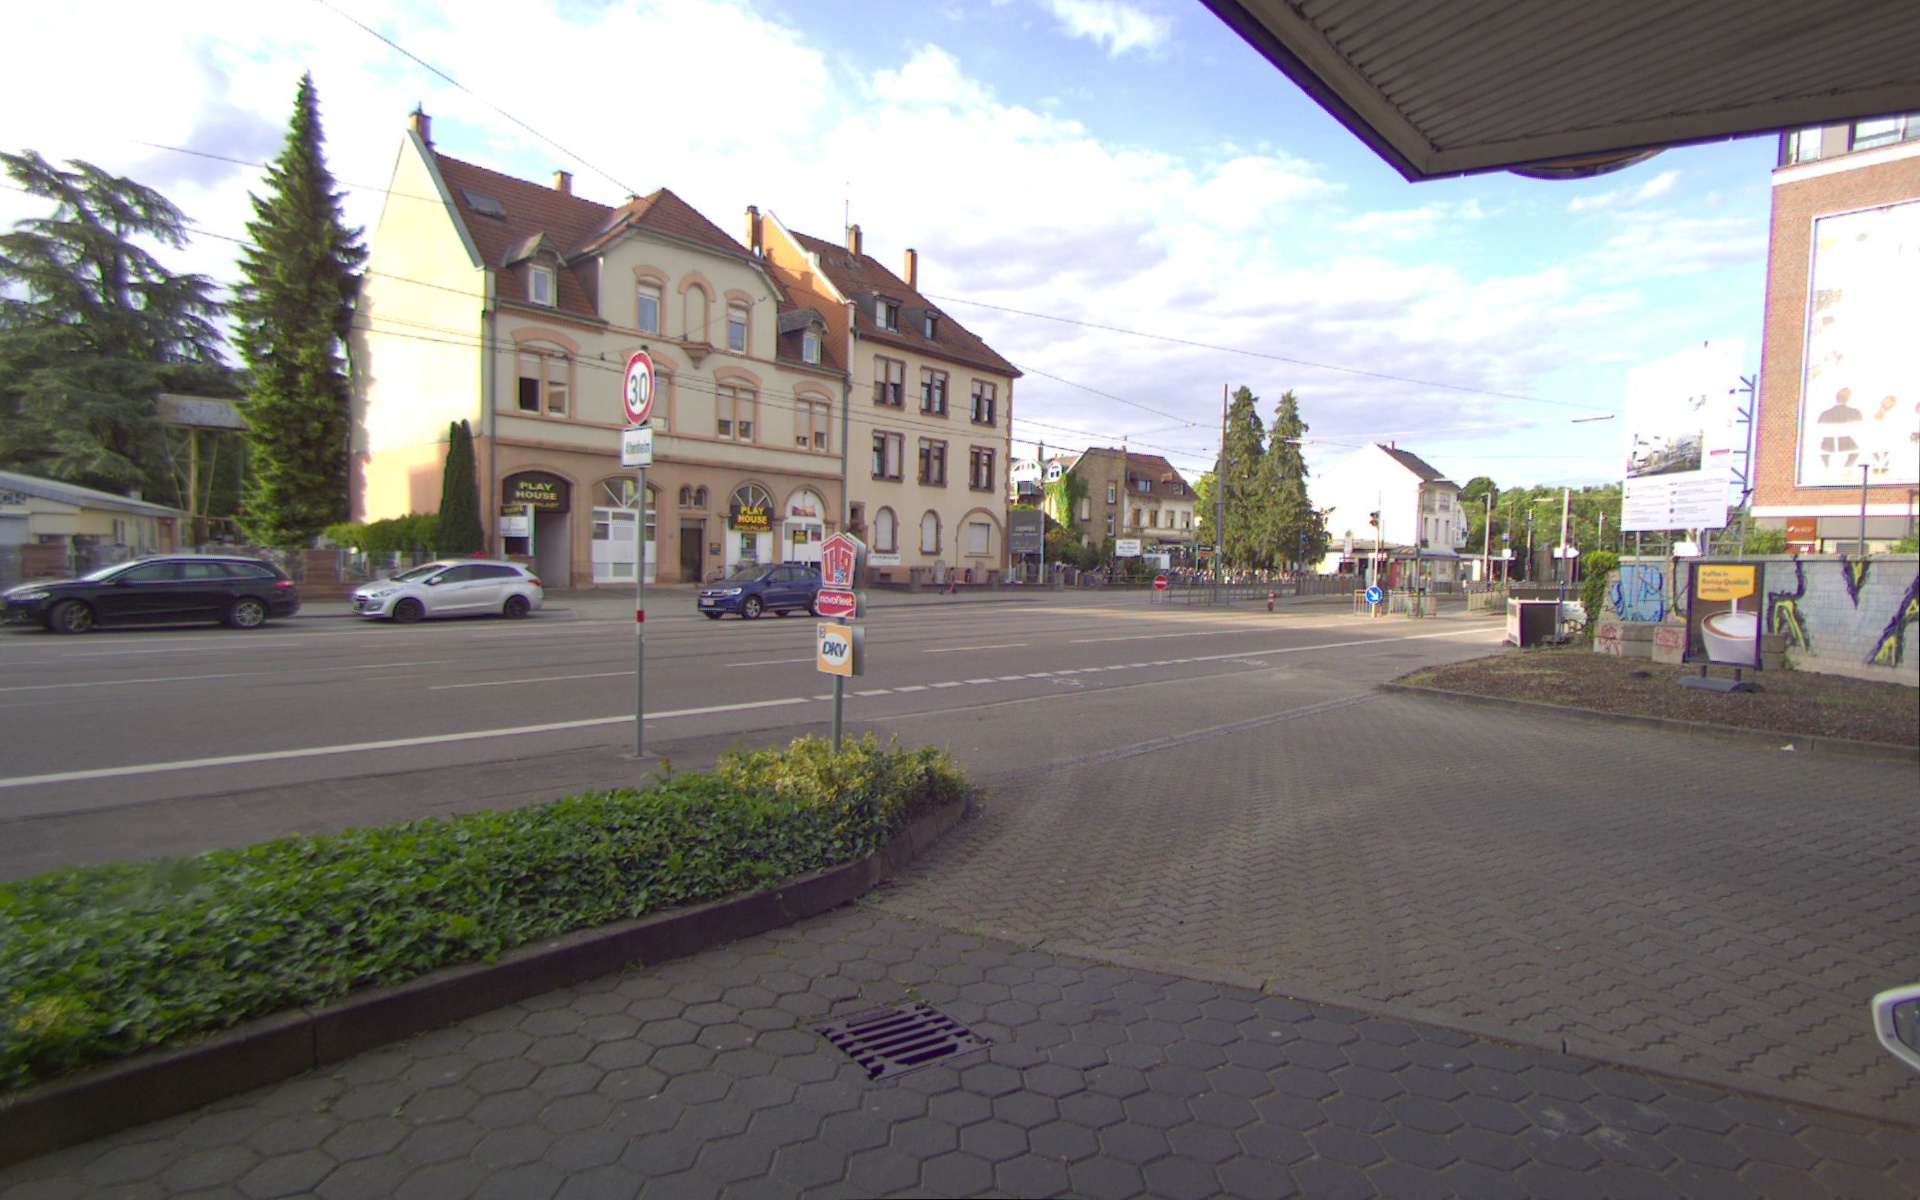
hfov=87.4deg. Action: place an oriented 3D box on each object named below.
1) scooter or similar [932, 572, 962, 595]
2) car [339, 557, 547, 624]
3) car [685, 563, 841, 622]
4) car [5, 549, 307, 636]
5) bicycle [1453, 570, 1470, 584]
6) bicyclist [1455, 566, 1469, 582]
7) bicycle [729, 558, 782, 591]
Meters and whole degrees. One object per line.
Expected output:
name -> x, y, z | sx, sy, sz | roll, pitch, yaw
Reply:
scooter or similar -> -0.572, -0.726, 45.092 | 0.437, 1.006, 1.460 | 6, 5, 41
car -> -12.934, -0.257, 25.355 | 1.718, 1.502, 4.357 | 3, 2, 41
car -> -5.475, -0.250, 28.328 | 1.834, 1.489, 4.121 | 3, 3, 38
car -> -16.492, -0.180, 20.816 | 1.827, 1.542, 4.642 | 5, 4, 40
bicycle -> 48.068, -2.193, 96.271 | 1.809, 1.219, 0.742 | -1, 10, -45
bicyclist -> 48.135, -2.500, 96.287 | 0.915, 1.428, 0.742 | -1, 9, -44
bicycle -> -8.253, -1.012, 40.626 | 0.741, 1.219, 2.011 | 8, 5, 41
